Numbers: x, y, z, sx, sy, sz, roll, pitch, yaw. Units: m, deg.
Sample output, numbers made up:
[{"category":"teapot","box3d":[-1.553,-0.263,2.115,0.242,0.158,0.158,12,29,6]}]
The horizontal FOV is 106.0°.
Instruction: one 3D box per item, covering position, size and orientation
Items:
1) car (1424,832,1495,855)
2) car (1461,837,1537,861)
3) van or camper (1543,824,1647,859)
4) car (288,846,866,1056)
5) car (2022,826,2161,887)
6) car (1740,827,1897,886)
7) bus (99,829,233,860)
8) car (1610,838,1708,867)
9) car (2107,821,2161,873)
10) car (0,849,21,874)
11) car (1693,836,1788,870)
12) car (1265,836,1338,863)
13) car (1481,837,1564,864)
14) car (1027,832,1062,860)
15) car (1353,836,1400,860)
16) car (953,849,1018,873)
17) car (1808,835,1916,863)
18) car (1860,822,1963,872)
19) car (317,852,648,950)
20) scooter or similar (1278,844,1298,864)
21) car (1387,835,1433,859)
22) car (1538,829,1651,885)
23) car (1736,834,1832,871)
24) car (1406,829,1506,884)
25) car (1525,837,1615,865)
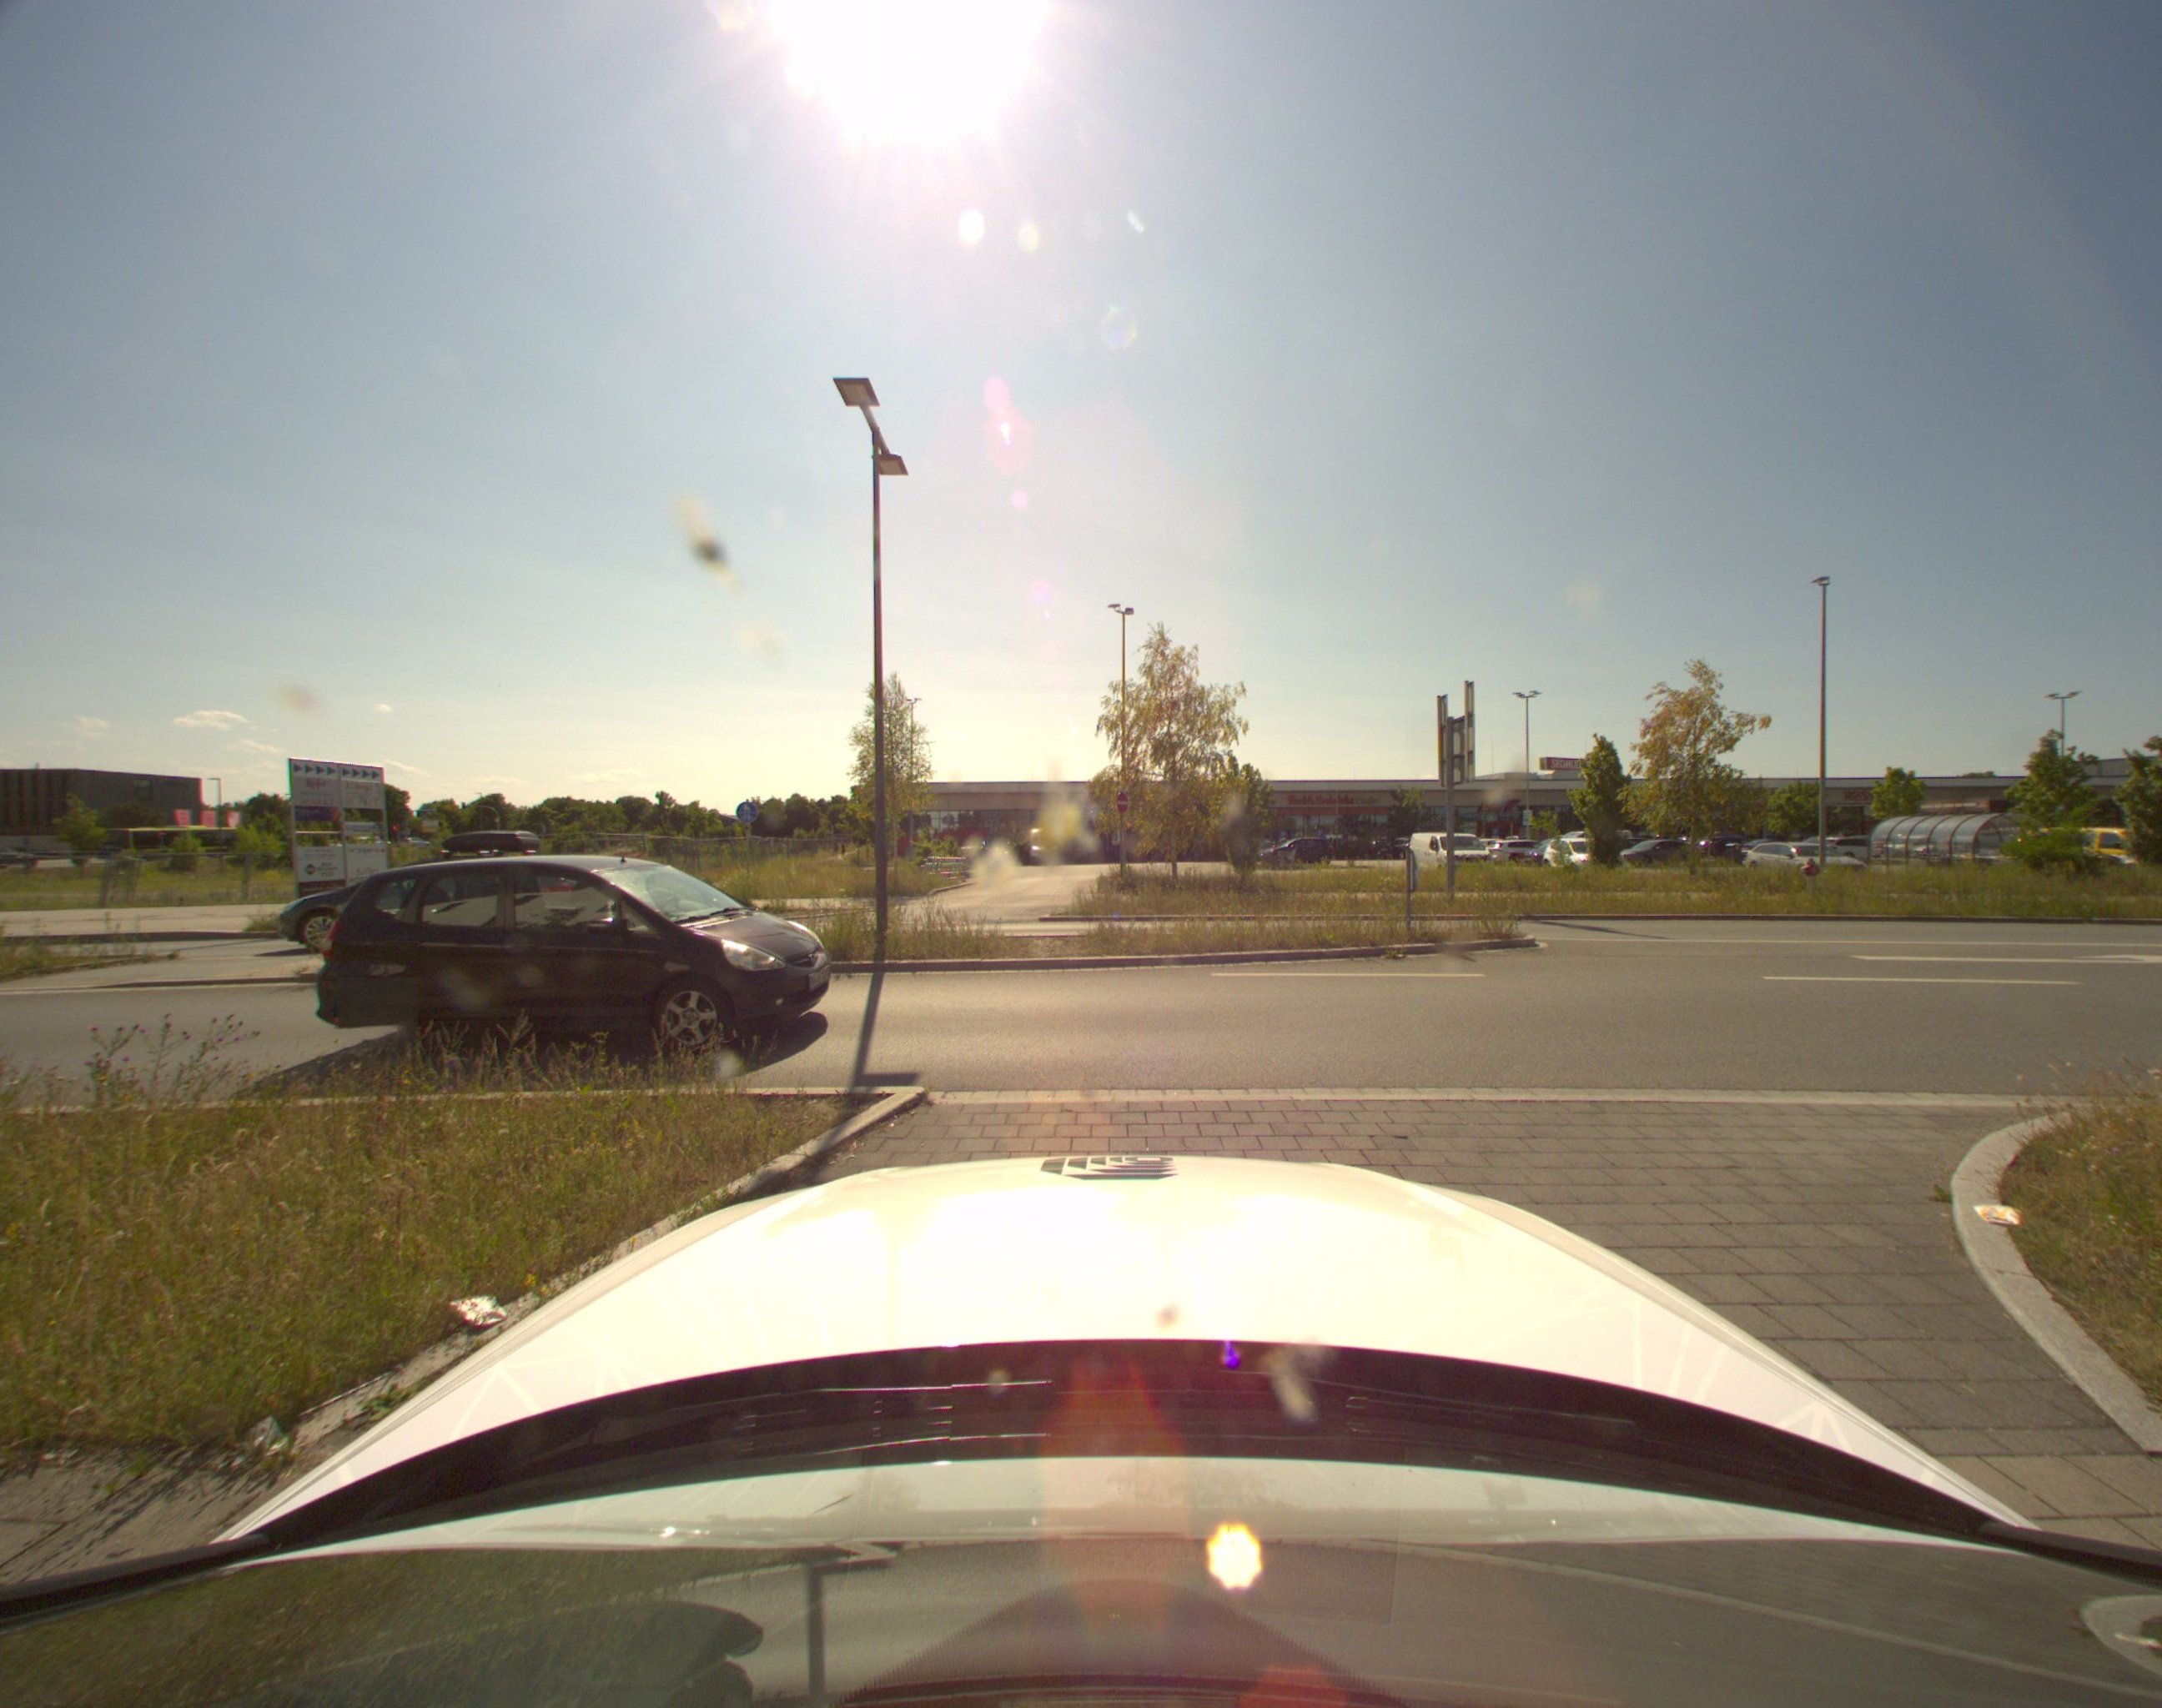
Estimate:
[{"category":"car","box3d":[23.686,-0.670,51.031,3.714,1.390,1.729,-1,1,-6]},{"category":"car","box3d":[24.701,-0.313,48.167,3.714,1.390,1.729,-1,1,-6]},{"category":"van or camper","box3d":[30.789,-0.734,48.851,5.019,2.013,2.000,-1,1,0]},{"category":"car","box3d":[-4.101,0.729,7.212,3.818,1.550,2.000,-1,1,0]},{"category":"car","box3d":[37.211,0.037,29.112,2.142,2.013,5.137,0,1,15]},{"category":"car","box3d":[27.675,0.044,30.843,2.143,2.013,5.133,0,1,12]},{"category":"bus","box3d":[-86.137,-0.927,77.097,2.577,2.735,11.507,0,1,-16]},{"category":"car","box3d":[30.776,-0.096,43.428,3.975,1.508,1.874,0,0,-1]},{"category":"car","box3d":[60.460,-0.412,45.281,4.458,2.821,1.999,0,0,-2]},{"category":"car","box3d":[-81.658,0.570,60.292,1.826,1.859,3.979,0,0,-16]},{"category":"car","box3d":[42.402,-0.068,52.439,4.452,2.102,2.001,0,0,2]},{"category":"car","box3d":[12.799,-0.263,47.501,3.783,1.508,1.731,-1,1,-2]},{"category":"car","box3d":[24.429,-0.212,45.128,3.714,1.390,1.729,-1,1,-6]},{"category":"car","box3d":[-2.805,-0.607,60.615,2.219,1.977,6.683,-1,1,-6]},{"category":"car","box3d":[22.202,-0.453,61.340,1.989,1.707,3.996,-1,1,-3]},{"category":"car","box3d":[-5.692,0.389,48.900,3.827,1.423,1.768,0,0,-6]},{"category":"car","box3d":[42.449,-0.272,44.324,4.322,1.520,1.655,0,0,-1]},{"category":"car","box3d":[48.574,-0.405,47.658,4.467,2.821,1.995,0,0,-8]},{"category":"car","box3d":[-10.155,0.730,14.225,4.188,1.517,1.991,0,0,-13]},{"category":"scooter or similar","box3d":[11.642,0.009,45.793,0.939,1.079,0.653,-1,1,2]},{"category":"car","box3d":[24.871,-0.571,61.706,1.986,1.707,4.002,-1,1,1]},{"category":"car","box3d":[19.991,0.052,32.009,2.143,2.013,5.133,0,1,12]},{"category":"car","box3d":[42.522,-0.090,49.333,4.467,2.191,1.995,0,0,-8]},{"category":"car","box3d":[14.823,0.055,32.538,2.070,2.013,5.238,0,1,6]},{"category":"car","box3d":[25.506,-0.156,42.535,3.714,1.390,1.729,-1,1,-6]}]
